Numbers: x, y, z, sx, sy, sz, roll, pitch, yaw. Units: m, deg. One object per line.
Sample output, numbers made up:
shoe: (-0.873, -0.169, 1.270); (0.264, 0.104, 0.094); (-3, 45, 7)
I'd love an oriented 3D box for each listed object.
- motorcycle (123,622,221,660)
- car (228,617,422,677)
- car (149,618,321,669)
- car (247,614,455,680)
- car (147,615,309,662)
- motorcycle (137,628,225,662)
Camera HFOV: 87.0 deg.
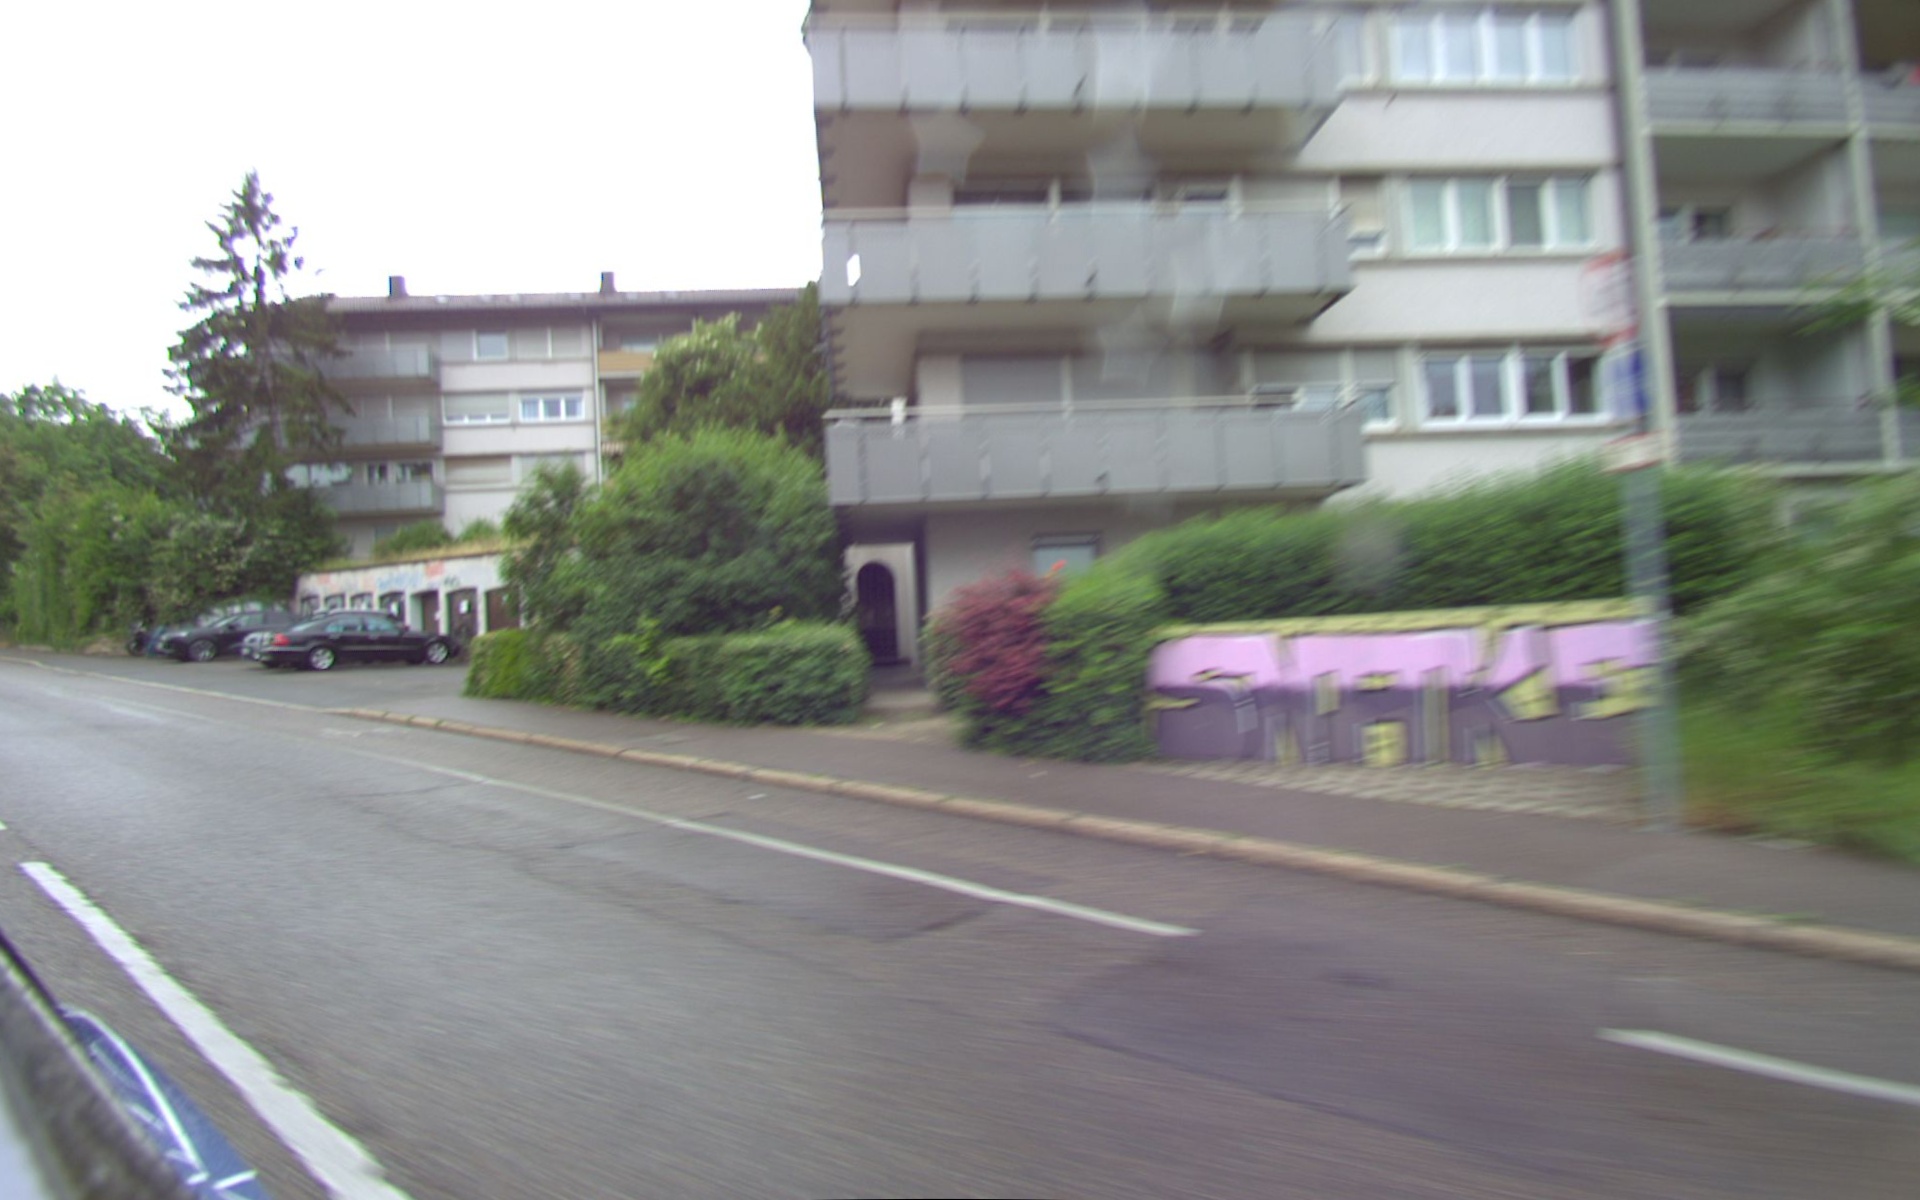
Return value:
motorcycle: (-28.908, 1.490, 37.215); (2.765, 1.282, 1.282); (-1, 0, -35)
car: (-18.035, 1.286, 28.936); (1.772, 1.539, 4.386); (-1, -1, 38)
car: (-24.043, 1.401, 33.675); (1.774, 1.539, 4.383); (-1, -1, 41)
car: (-16.317, 1.193, 27.292); (1.847, 1.501, 4.439); (-1, 1, 41)
car: (-25.842, 1.320, 35.865); (1.774, 1.539, 4.383); (-1, -1, 41)
motorcycle: (-27.655, 1.573, 35.962); (2.426, 1.117, 0.661); (0, -1, -43)
